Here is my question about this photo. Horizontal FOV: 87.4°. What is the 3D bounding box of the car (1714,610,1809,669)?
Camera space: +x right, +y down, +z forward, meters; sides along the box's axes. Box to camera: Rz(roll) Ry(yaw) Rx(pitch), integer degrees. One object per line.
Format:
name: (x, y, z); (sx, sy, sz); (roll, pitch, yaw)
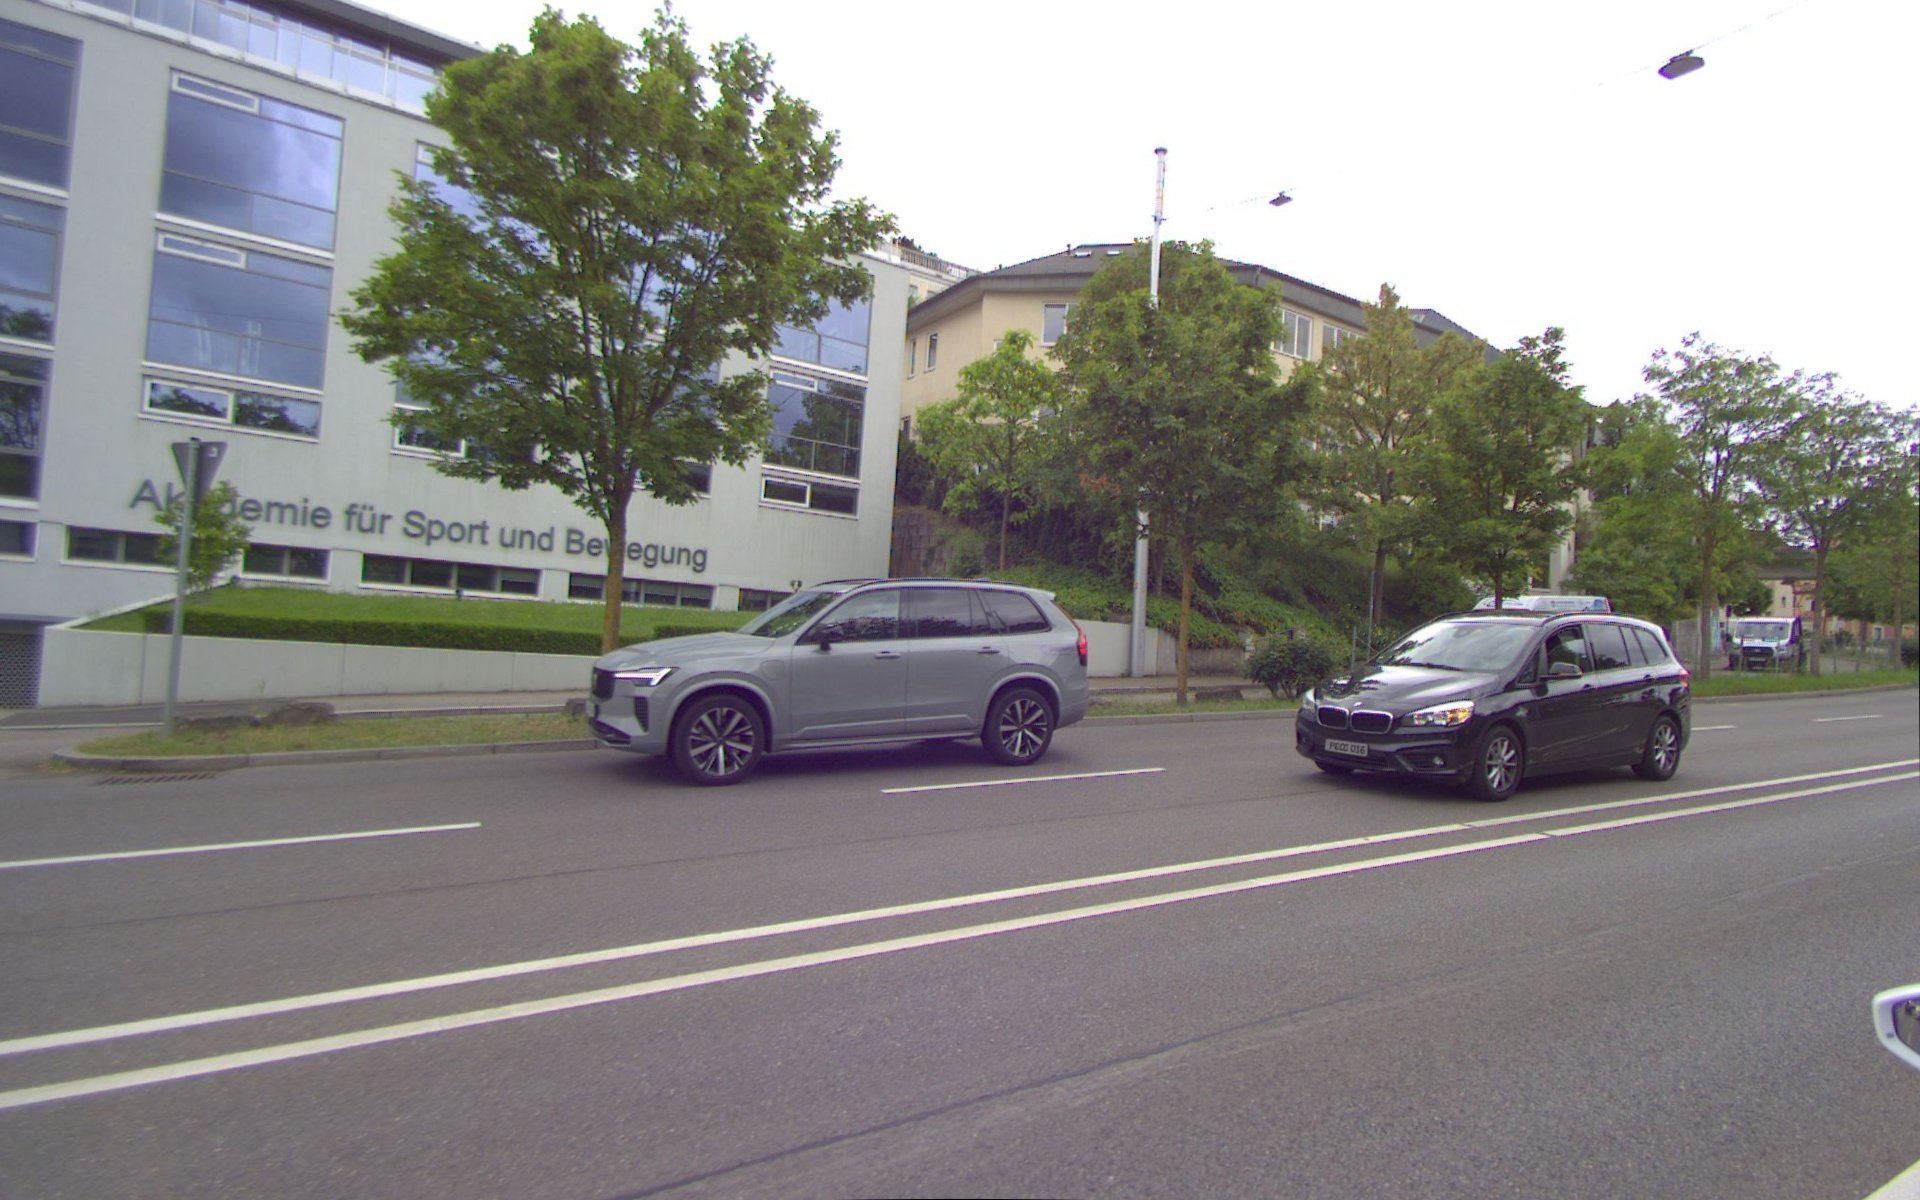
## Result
car: (33.538, 1.637, 41.929); (6.282, 2.303, 2.246); (2, -2, -43)

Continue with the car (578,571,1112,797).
car: (-0.988, 0.689, 9.683); (4.813, 1.731, 1.755); (1, 0, -30)

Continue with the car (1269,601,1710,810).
car: (5.178, 0.870, 9.683); (4.315, 1.614, 1.755); (1, 0, -30)

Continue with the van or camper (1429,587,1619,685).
van or camper: (15.811, 1.018, 28.086); (5.640, 2.505, 1.985); (2, -1, -29)
